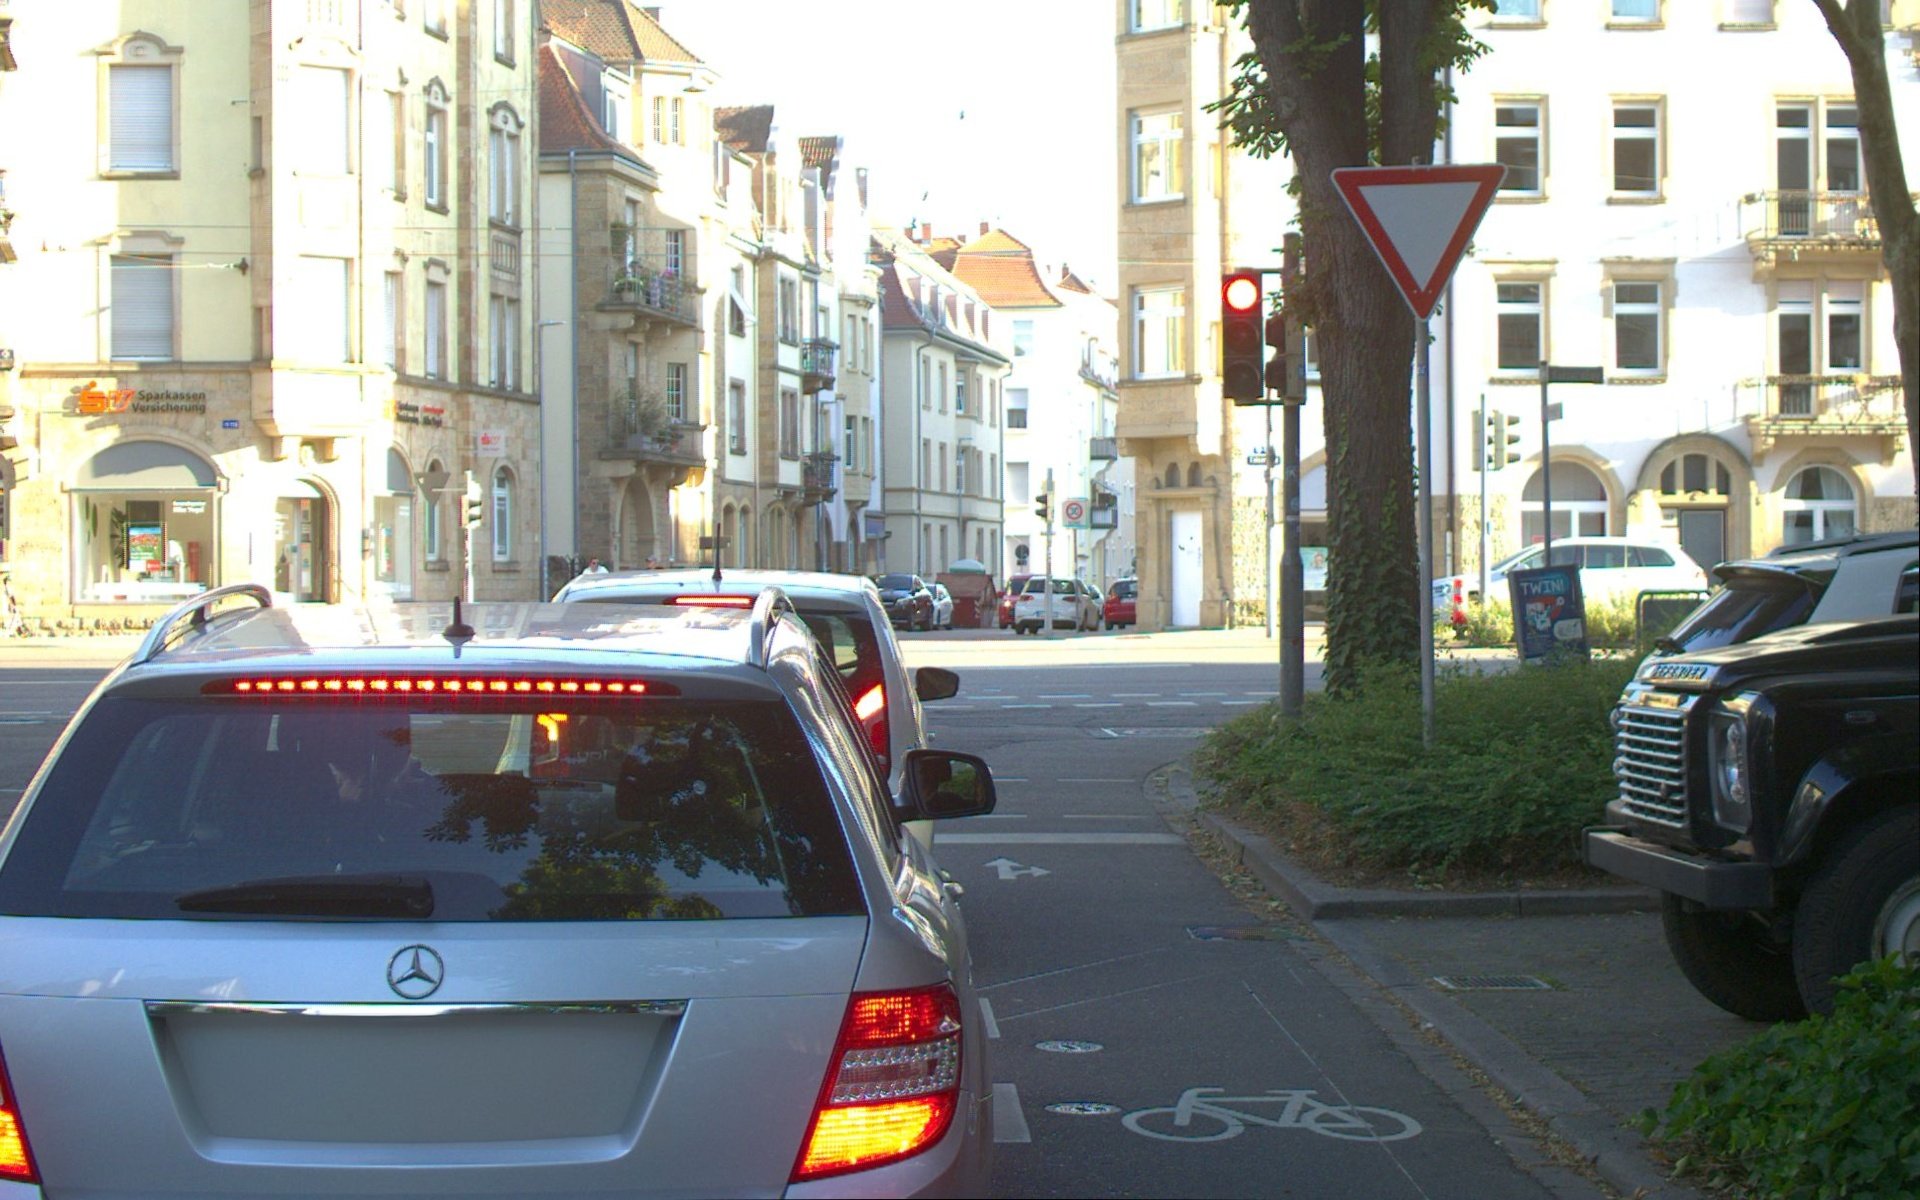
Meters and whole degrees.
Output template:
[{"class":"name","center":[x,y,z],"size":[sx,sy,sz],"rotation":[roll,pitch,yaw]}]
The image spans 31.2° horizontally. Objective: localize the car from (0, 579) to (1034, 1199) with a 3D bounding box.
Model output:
[{"class":"car","center":[-0.848,0.704,6.477],"size":[1.690,1.424,3.493],"rotation":[1,1,-3]}]

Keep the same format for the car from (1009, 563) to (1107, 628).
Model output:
[{"class":"car","center":[2.470,-0.125,85.895],"size":[1.722,1.473,3.998],"rotation":[-2,1,12]}]

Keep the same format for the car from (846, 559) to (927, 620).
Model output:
[{"class":"car","center":[-2.173,-0.304,102.423],"size":[1.651,1.777,3.861],"rotation":[0,0,11]}]

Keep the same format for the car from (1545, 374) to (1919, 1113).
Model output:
[{"class":"car","center":[4.186,0.294,10.171],"size":[4.490,1.949,1.793],"rotation":[-2,1,-3]}]

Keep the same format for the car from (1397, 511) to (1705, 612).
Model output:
[{"class":"car","center":[8.853,-0.590,51.714],"size":[4.285,1.457,1.787],"rotation":[0,2,-1]}]

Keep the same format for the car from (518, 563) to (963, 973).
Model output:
[{"class":"car","center":[-0.828,0.565,13.701],"size":[1.533,1.386,3.600],"rotation":[0,1,-2]}]

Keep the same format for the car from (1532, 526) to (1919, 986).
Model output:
[{"class":"car","center":[4.125,0.499,13.051],"size":[3.480,1.580,1.711],"rotation":[-2,1,-6]}]

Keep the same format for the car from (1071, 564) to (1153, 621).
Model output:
[{"class":"car","center":[4.532,-0.231,102.093],"size":[1.722,1.473,3.998],"rotation":[-4,1,12]}]

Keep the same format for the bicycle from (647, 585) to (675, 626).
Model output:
[{"class":"bicycle","center":[-6.373,0.115,73.247],"size":[0.568,0.832,1.566],"rotation":[0,1,-4]}]

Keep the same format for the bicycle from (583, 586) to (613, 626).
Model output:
[{"class":"bicycle","center":[-7.710,0.125,73.304],"size":[0.568,0.832,1.566],"rotation":[0,1,-4]}]

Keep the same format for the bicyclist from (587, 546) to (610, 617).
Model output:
[{"class":"bicyclist","center":[-7.712,-0.406,73.369],"size":[0.466,1.509,0.655],"rotation":[0,1,-4]}]

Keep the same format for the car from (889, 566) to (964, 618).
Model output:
[{"class":"car","center":[-1.043,-0.253,108.754],"size":[1.651,1.598,3.861],"rotation":[0,0,11]}]

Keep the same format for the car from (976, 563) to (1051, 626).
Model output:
[{"class":"car","center":[1.748,-0.186,110.367],"size":[1.938,1.952,4.149],"rotation":[0,1,8]}]

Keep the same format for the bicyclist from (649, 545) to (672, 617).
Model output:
[{"class":"bicyclist","center":[-6.388,-0.404,73.389],"size":[0.466,1.516,0.694],"rotation":[0,1,-4]}]

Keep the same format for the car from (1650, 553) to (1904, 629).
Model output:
[{"class":"car","center":[11.868,-0.142,50.040],"size":[3.364,1.065,1.380],"rotation":[0,1,-1]}]
